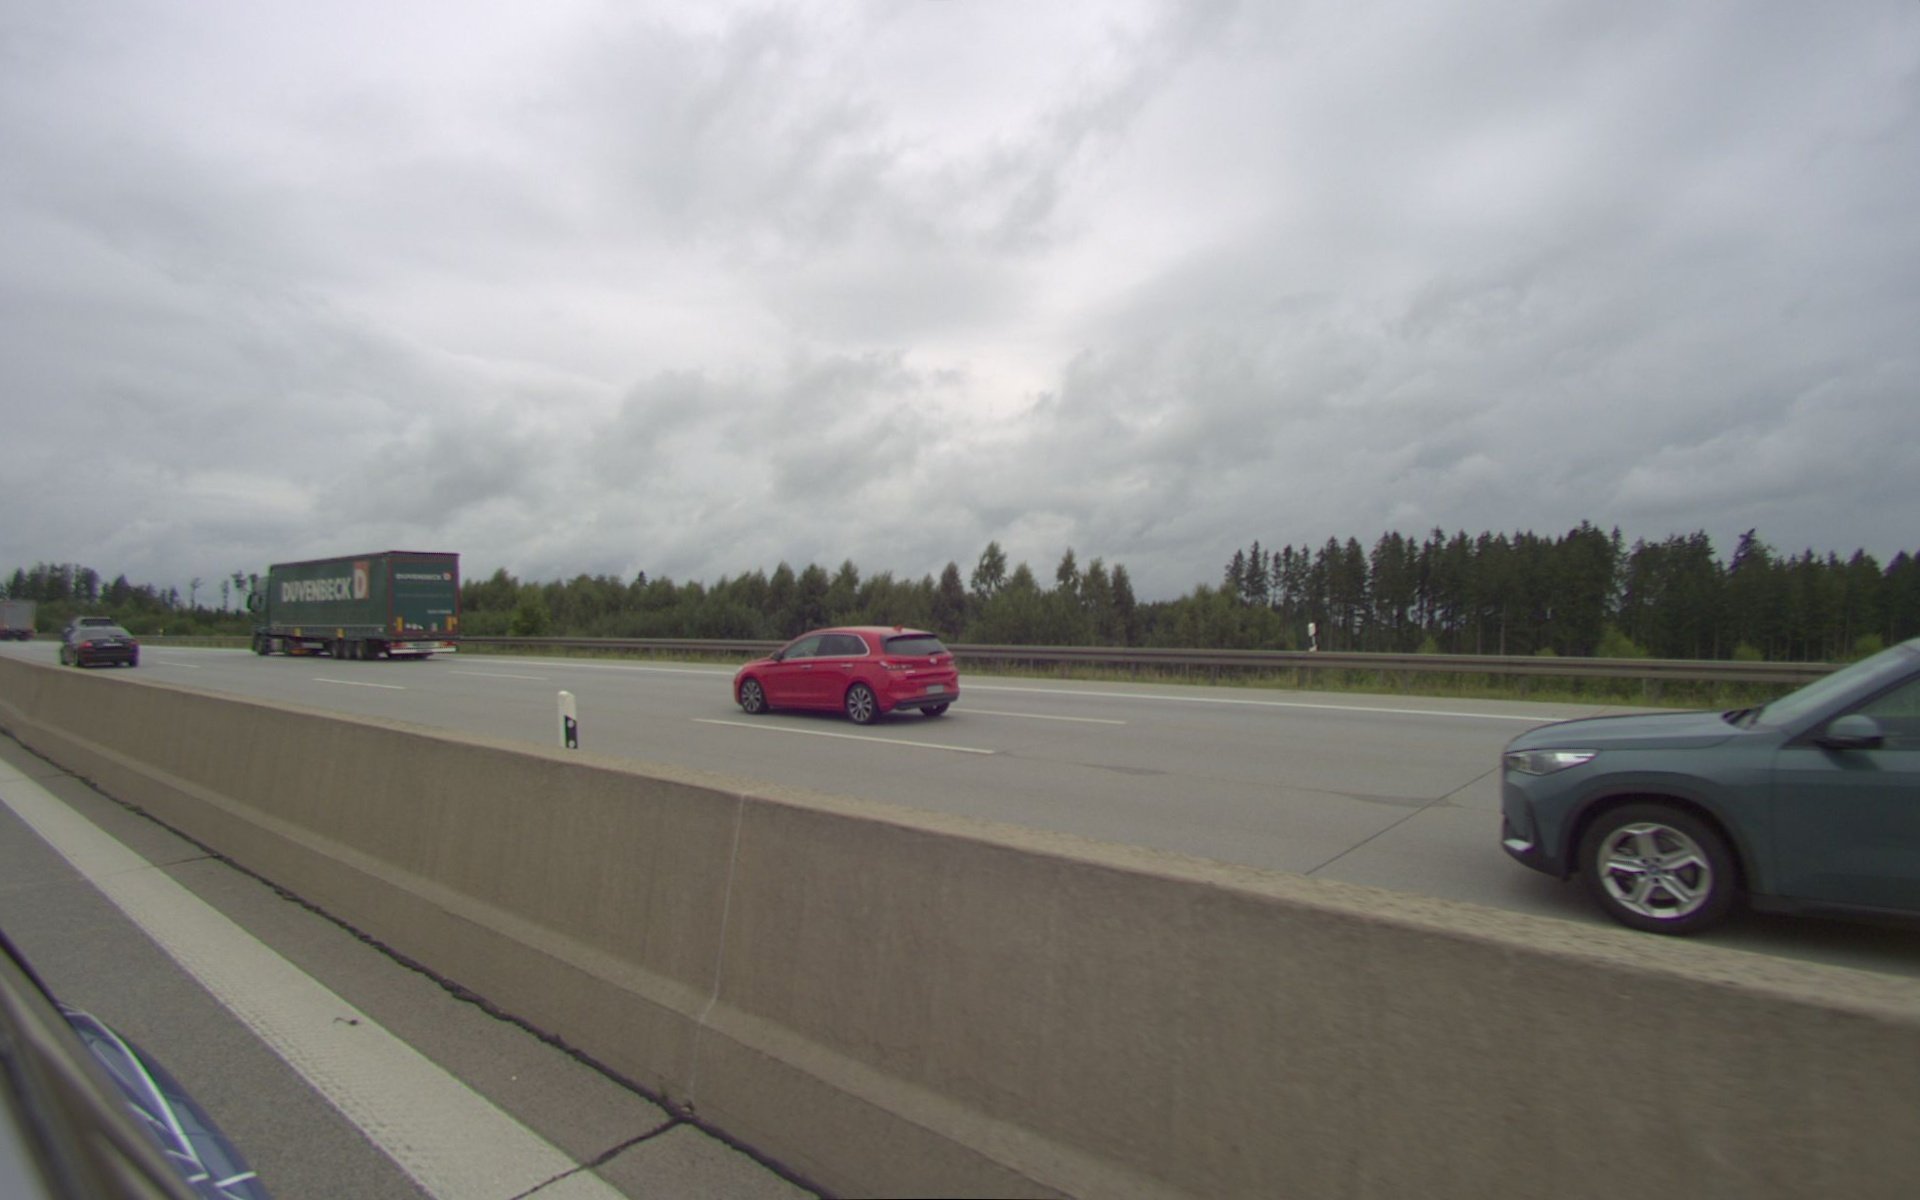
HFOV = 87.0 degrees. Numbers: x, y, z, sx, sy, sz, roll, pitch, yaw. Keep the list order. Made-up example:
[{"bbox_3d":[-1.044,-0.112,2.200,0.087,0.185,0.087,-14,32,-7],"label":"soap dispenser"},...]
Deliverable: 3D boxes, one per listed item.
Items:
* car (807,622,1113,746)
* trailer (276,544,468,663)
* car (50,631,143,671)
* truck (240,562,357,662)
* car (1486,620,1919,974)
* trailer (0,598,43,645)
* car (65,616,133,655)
[{"bbox_3d":[-0.118,1.125,14.918,4.484,1.519,1.700,-1,0,41],"label":"car"},{"bbox_3d":[-24.347,0.329,41.413,12.156,4.314,2.738,-3,-1,40],"label":"trailer"},{"bbox_3d":[-30.813,1.836,36.087,4.362,1.368,1.754,-3,-5,40],"label":"car"},{"bbox_3d":[-30.465,0.610,46.537,6.043,4.295,2.761,-3,-1,40],"label":"truck"},{"bbox_3d":[5.436,0.880,4.769,4.968,1.600,1.704,-3,-3,41],"label":"car"},{"bbox_3d":[-93.532,2.216,99.746,11.860,4.250,2.889,-3,-5,40],"label":"trailer"},{"bbox_3d":[-47.195,2.003,55.446,5.326,1.989,1.973,-3,-5,40],"label":"car"}]
